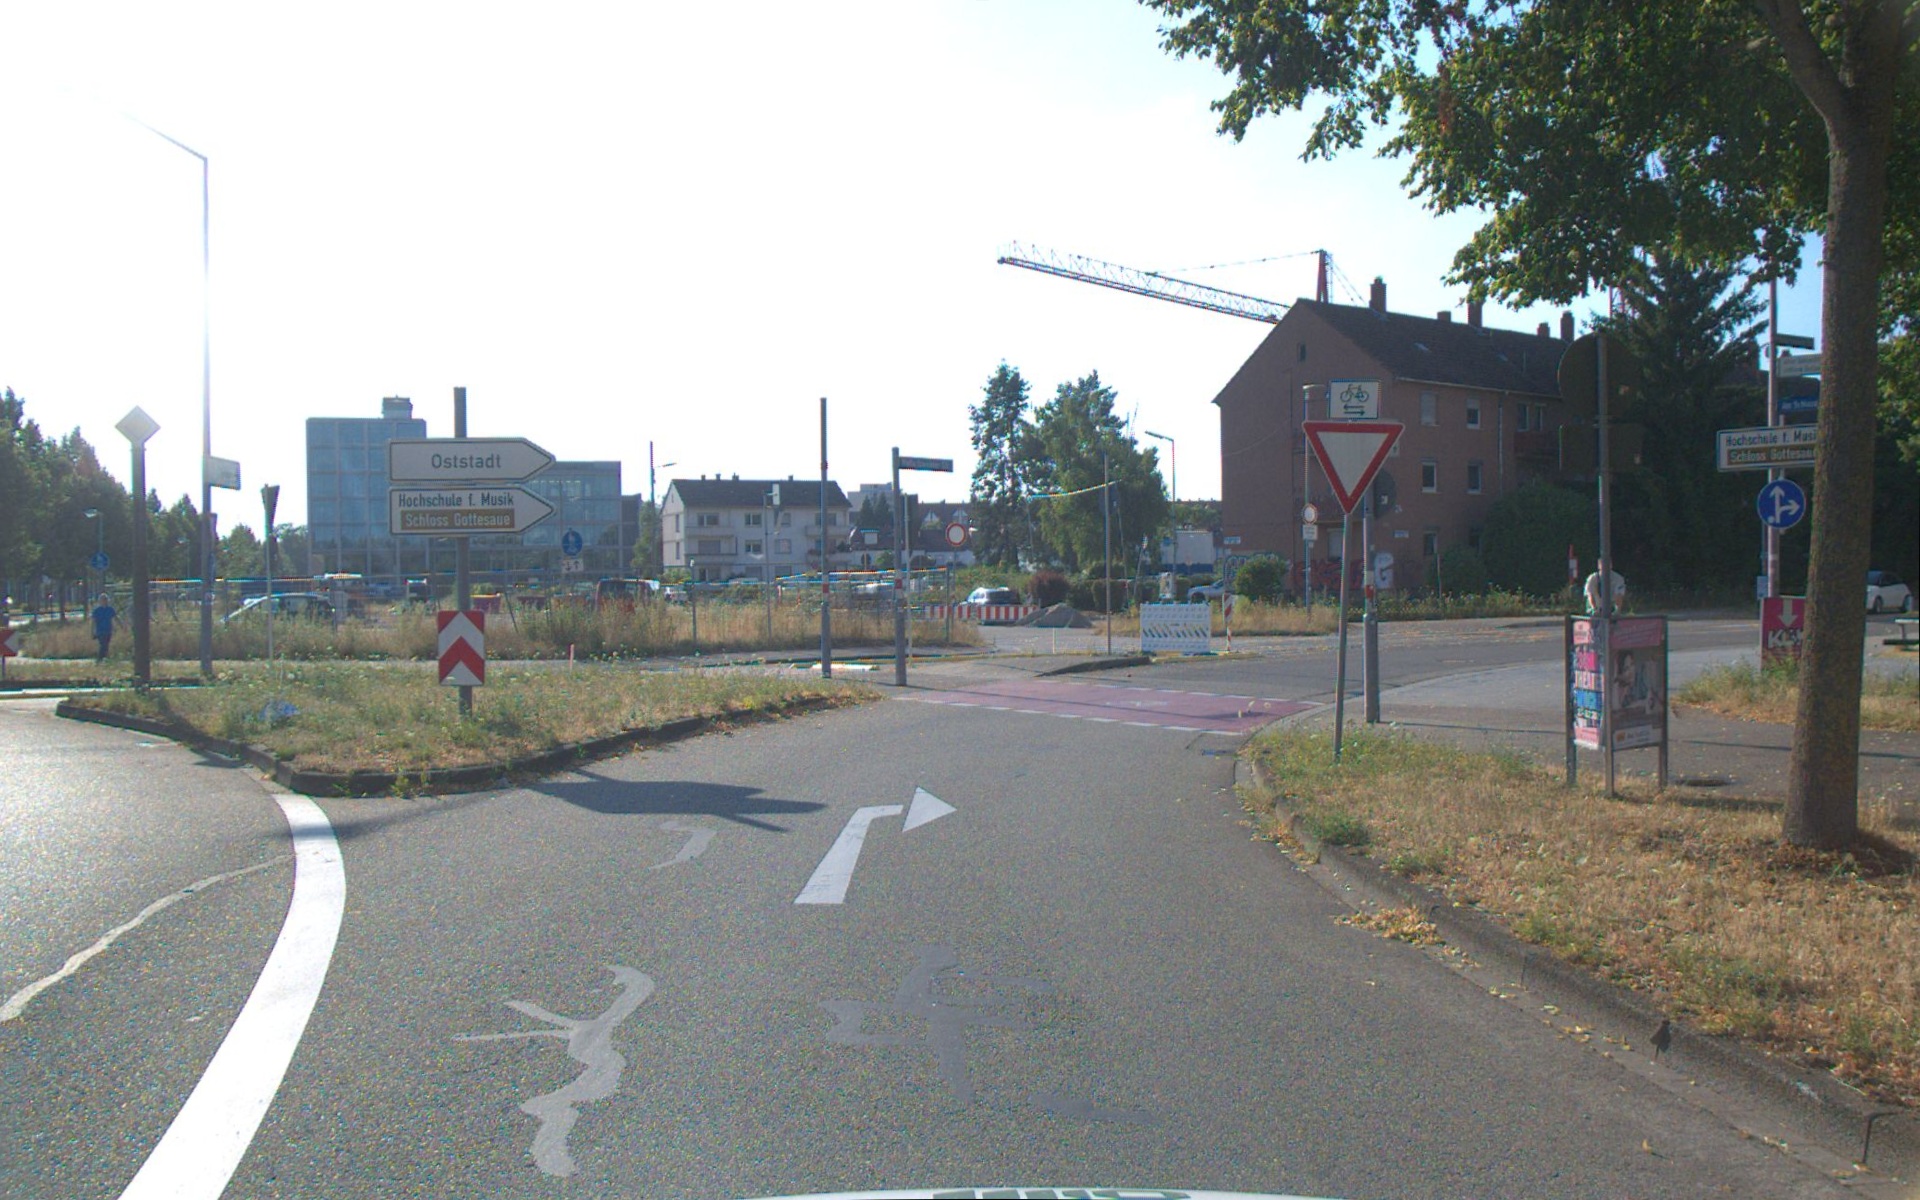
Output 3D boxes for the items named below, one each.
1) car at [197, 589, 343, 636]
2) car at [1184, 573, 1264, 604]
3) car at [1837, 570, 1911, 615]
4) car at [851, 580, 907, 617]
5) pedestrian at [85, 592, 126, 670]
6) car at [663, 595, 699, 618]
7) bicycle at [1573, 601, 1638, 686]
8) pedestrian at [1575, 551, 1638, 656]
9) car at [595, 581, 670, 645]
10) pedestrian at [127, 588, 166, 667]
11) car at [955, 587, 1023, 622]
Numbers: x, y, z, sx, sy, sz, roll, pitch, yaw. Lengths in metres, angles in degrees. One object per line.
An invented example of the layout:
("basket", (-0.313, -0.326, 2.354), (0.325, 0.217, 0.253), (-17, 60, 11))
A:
("car", (-22.713, 0.391, 54.494), (4.191, 1.387, 1.978), (-2, 1, -32))
("car", (14.034, -0.624, 87.928), (3.903, 1.556, 2.001), (-1, 0, 18))
("car", (31.593, -0.274, 57.141), (1.730, 1.446, 3.609), (1, 2, 38))
("car", (-4.632, -0.080, 93.800), (1.838, 1.981, 3.970), (-1, 0, -24))
("pedestrian", (-19.542, 0.695, 37.841), (0.774, 1.738, 0.806), (-1, 0, -26))
("car", (-23.754, 0.539, 140.653), (2.116, 1.870, 4.332), (-1, 0, -22))
("bicycle", (9.053, 0.589, 23.150), (0.523, 1.073, 1.909), (0, 2, 31))
("pedestrian", (9.017, 0.048, 23.061), (0.639, 1.416, 0.765), (-3, 0, 33))
("car", (-11.328, 0.410, 57.541), (1.955, 2.049, 5.307), (-1, 1, -5))
("pedestrian", (-19.073, 0.632, 38.790), (0.748, 1.806, 0.766), (-1, 0, -24))
("car", (1.347, 0.201, 78.686), (1.964, 1.579, 3.976), (-1, 1, -20))
